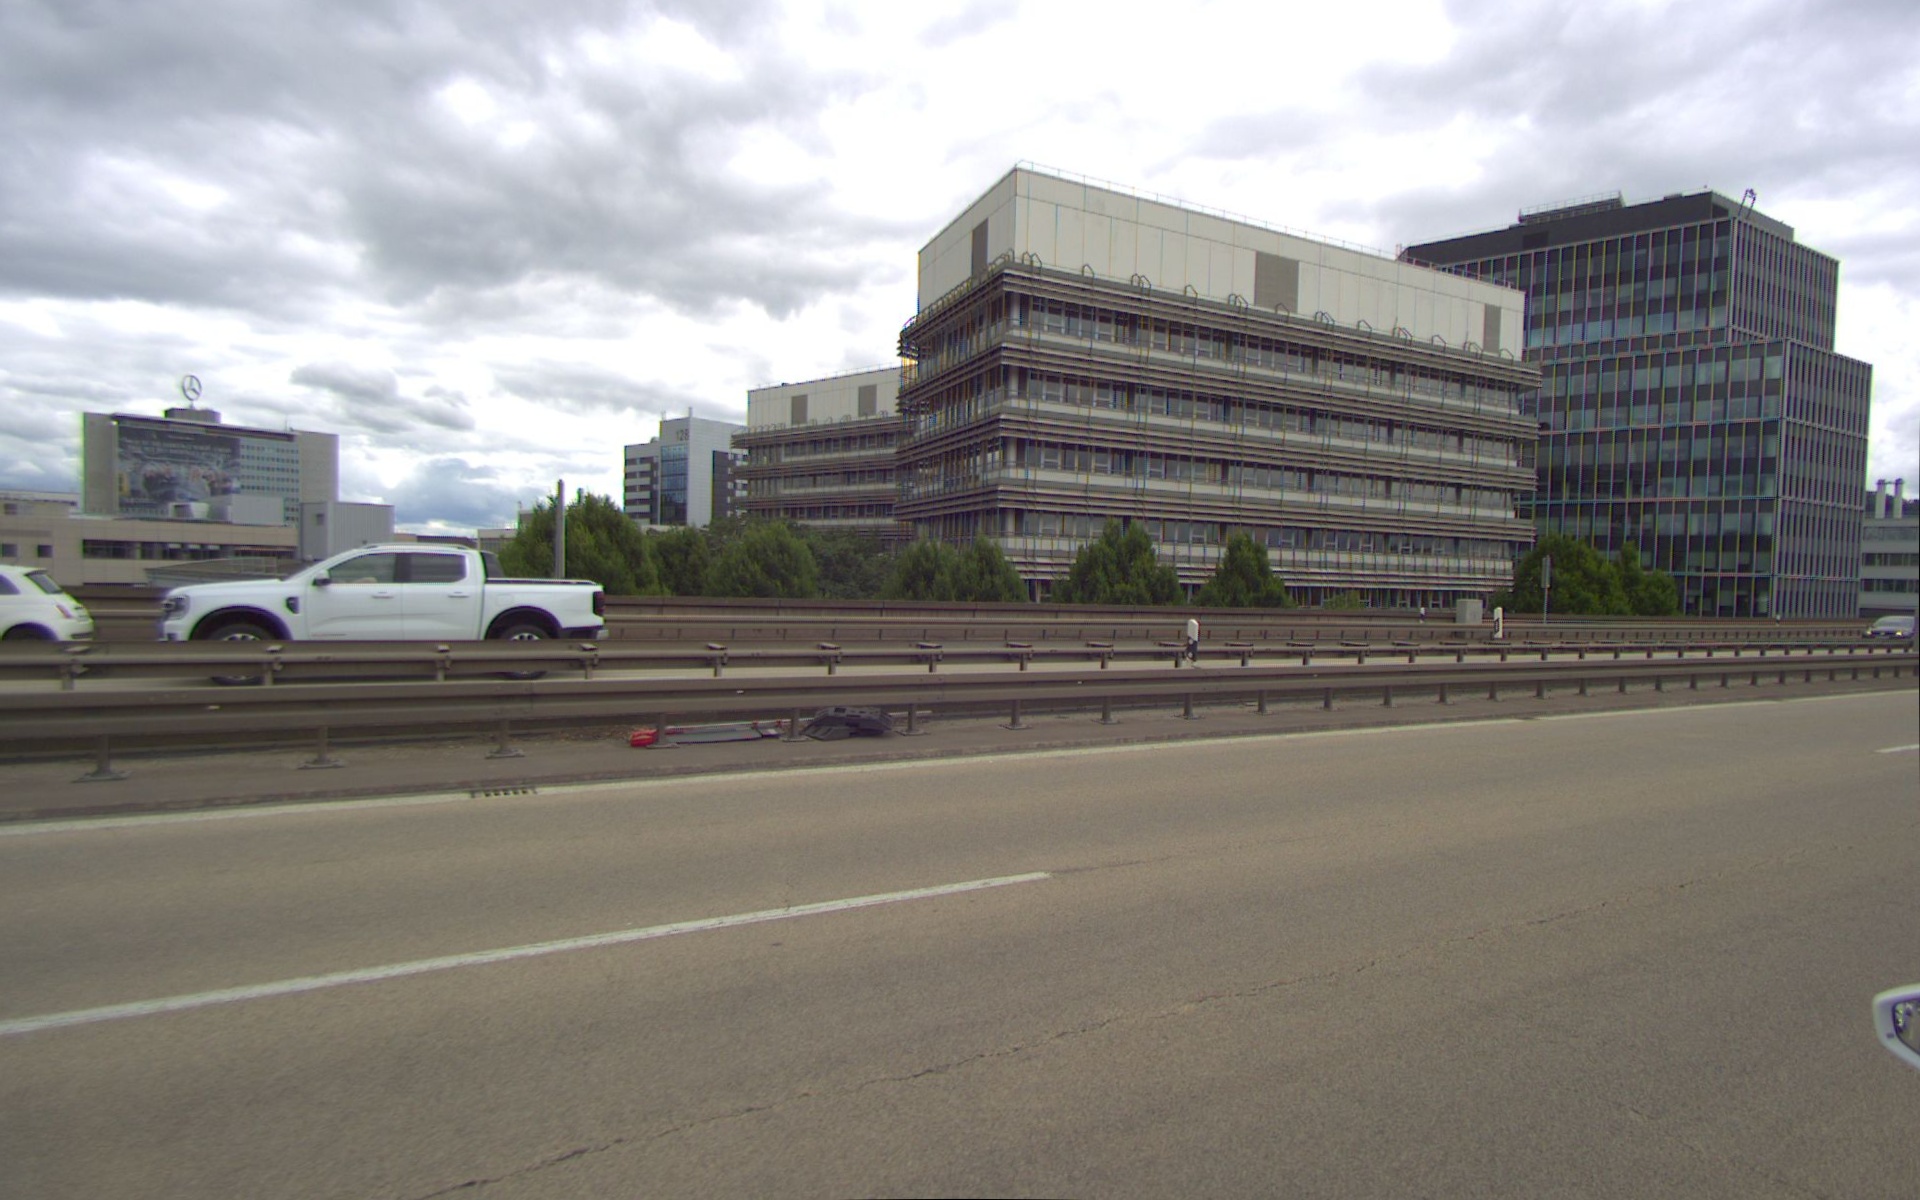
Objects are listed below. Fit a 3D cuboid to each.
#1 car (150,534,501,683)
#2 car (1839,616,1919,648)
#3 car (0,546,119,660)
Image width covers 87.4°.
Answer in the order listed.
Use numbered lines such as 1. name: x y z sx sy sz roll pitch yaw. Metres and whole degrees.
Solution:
1. car: -8.312 0.120 13.492 3.732 1.743 1.777 2 1 -31
2. car: 43.419 1.513 47.313 4.181 1.395 1.777 2 1 -31
3. car: -15.239 -0.007 15.084 3.732 1.672 1.674 2 1 -31
